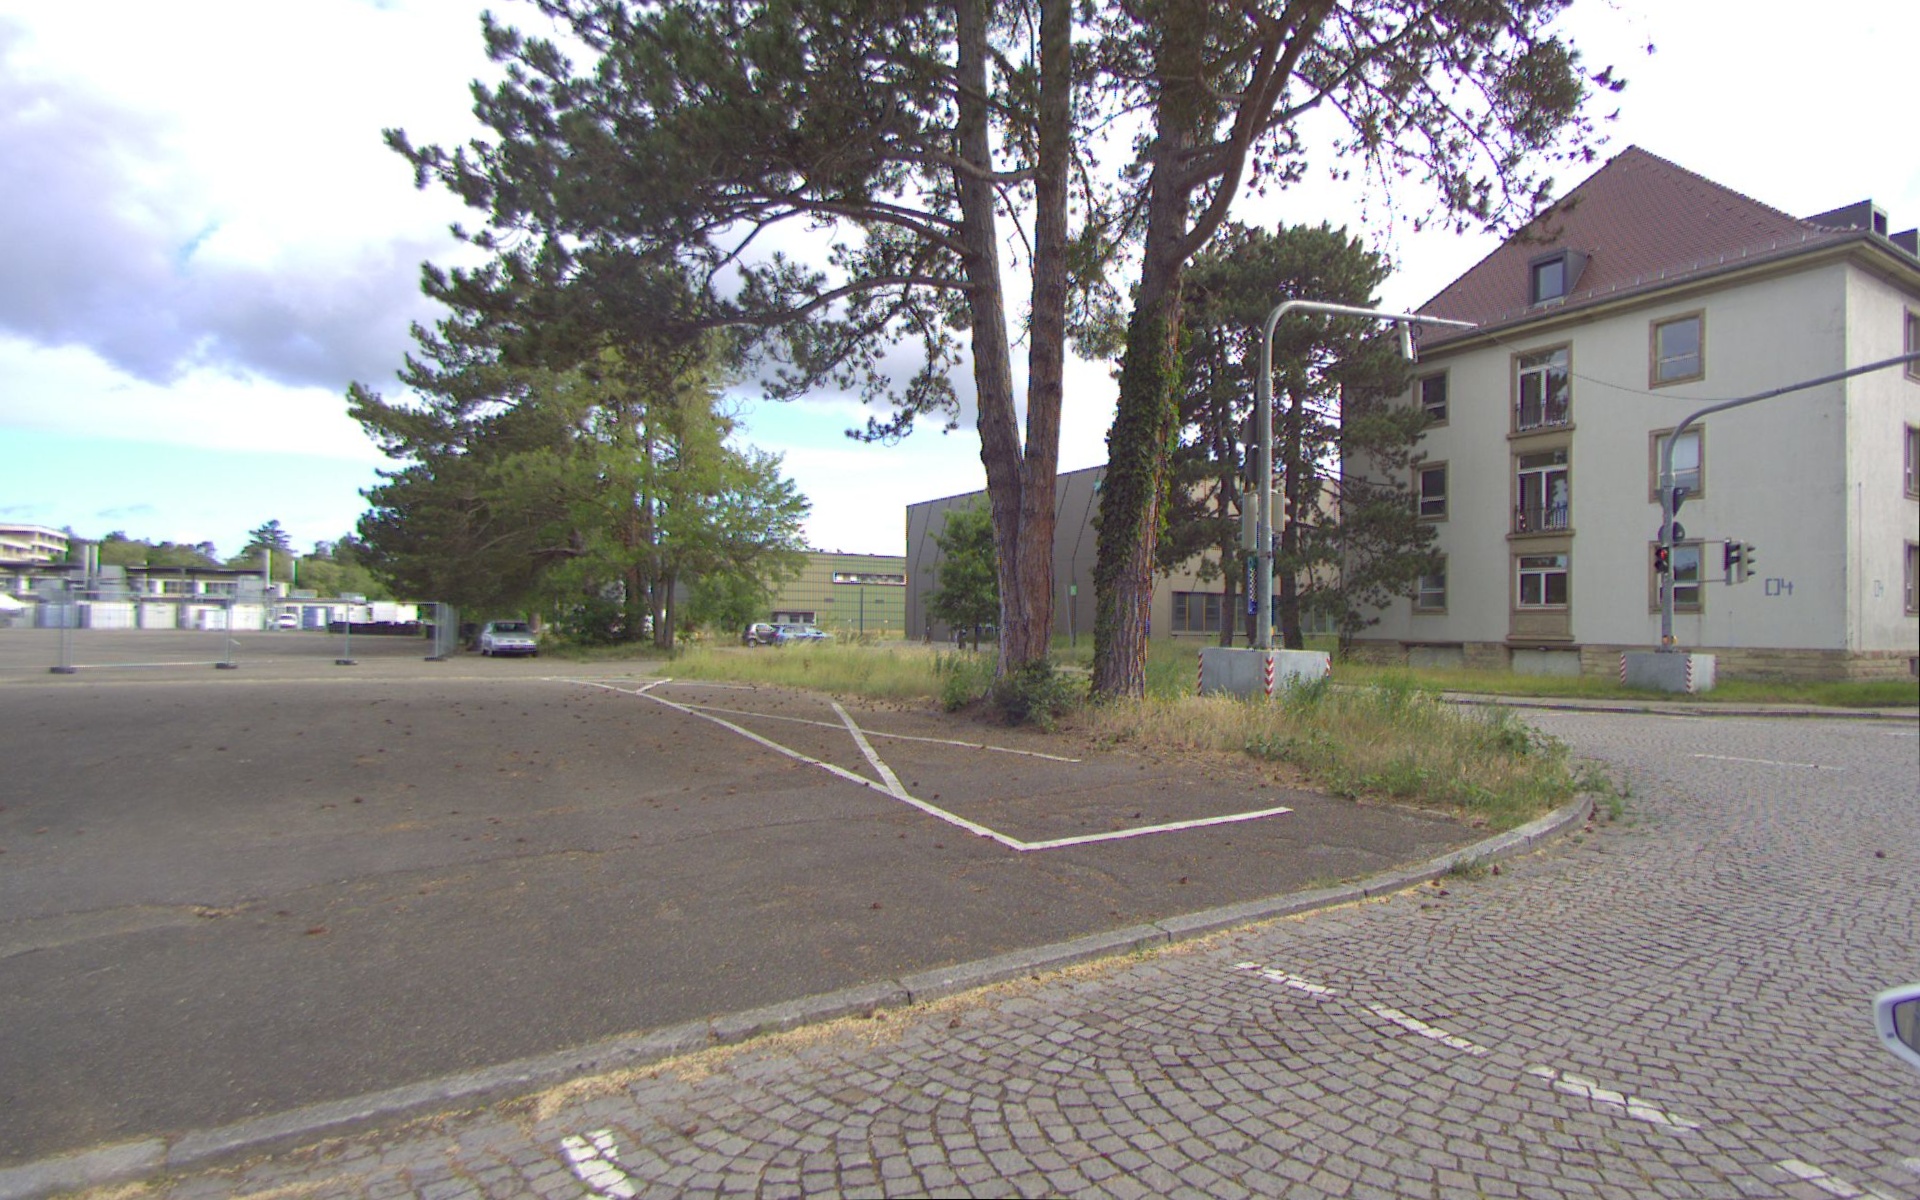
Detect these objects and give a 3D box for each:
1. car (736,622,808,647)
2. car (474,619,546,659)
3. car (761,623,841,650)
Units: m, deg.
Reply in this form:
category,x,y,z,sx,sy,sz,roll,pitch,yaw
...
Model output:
category,x,y,z,sx,sy,sz,roll,pitch,yaw
car,-12.886,2.333,68.835,4.480,1.552,1.984,0,-1,-31
car,-17.913,1.517,39.878,1.905,1.496,4.328,2,-2,-34
car,-9.778,2.203,62.043,4.486,1.552,1.981,0,-1,-35
